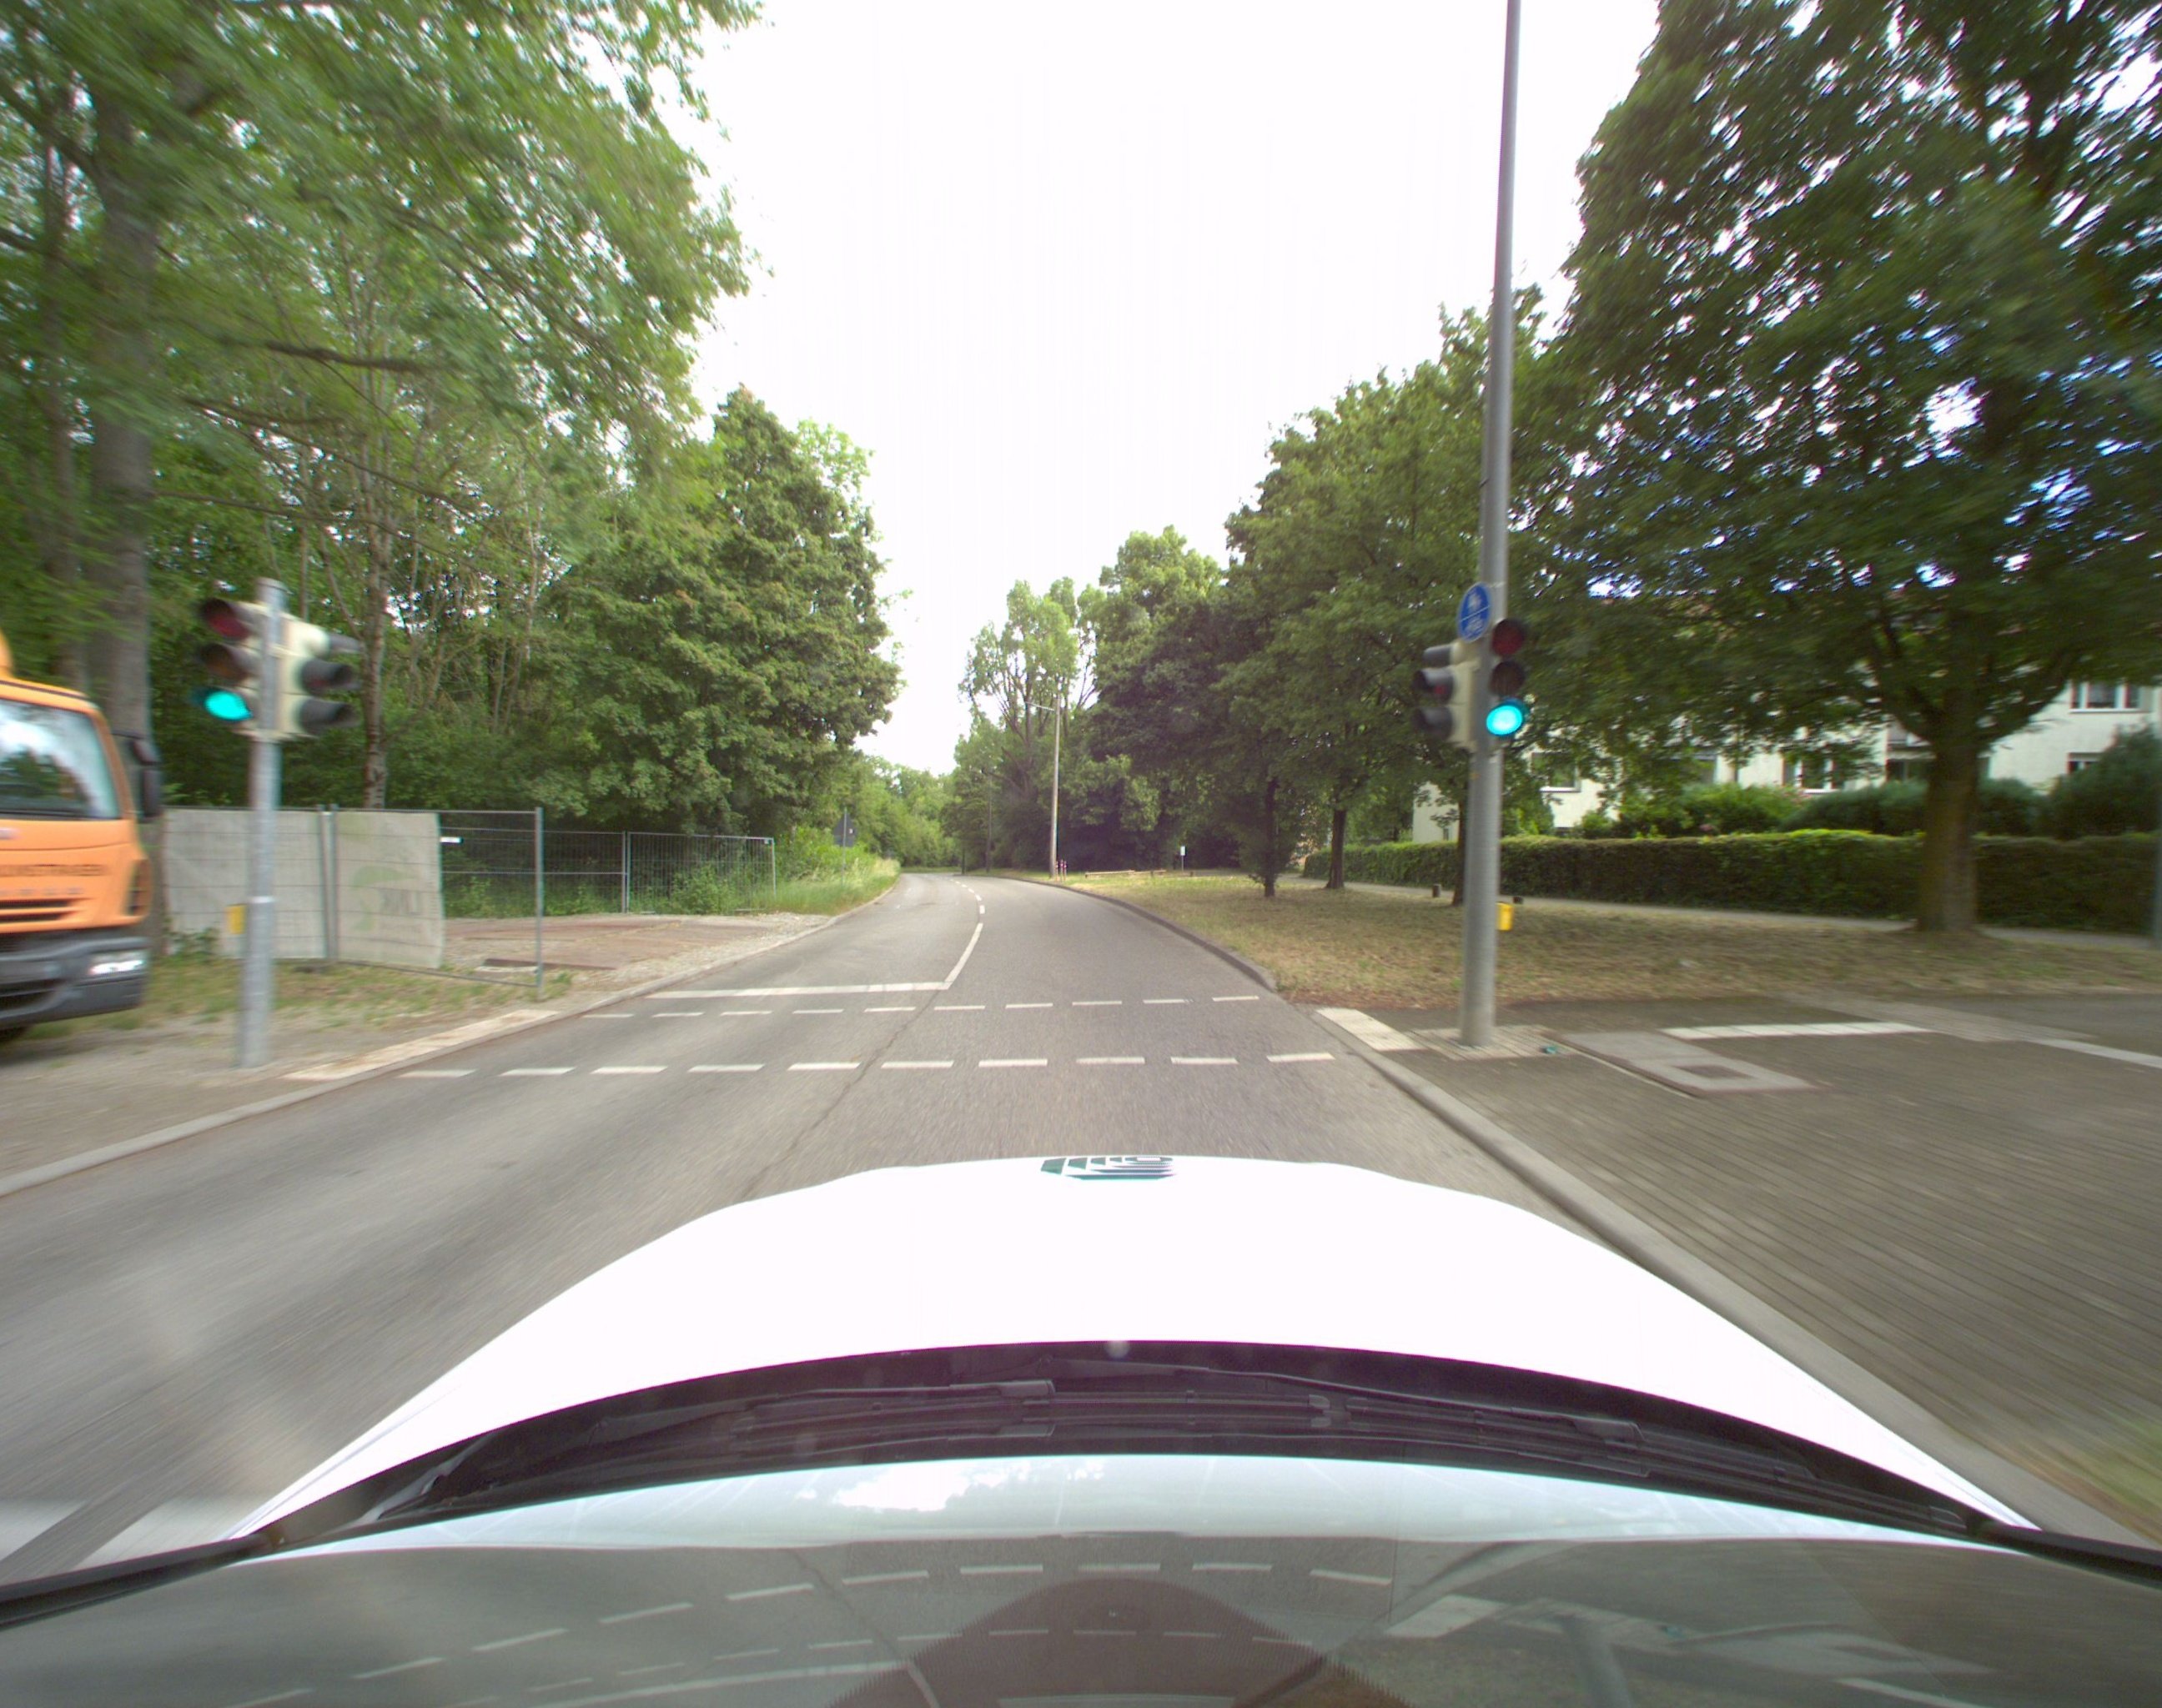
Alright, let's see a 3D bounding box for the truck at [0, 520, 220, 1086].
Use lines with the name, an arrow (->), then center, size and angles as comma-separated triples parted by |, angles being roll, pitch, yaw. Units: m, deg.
truck -> -11.350, -0.405, 5.058 | 9.198, 3.531, 2.565 | 1, -1, 1
